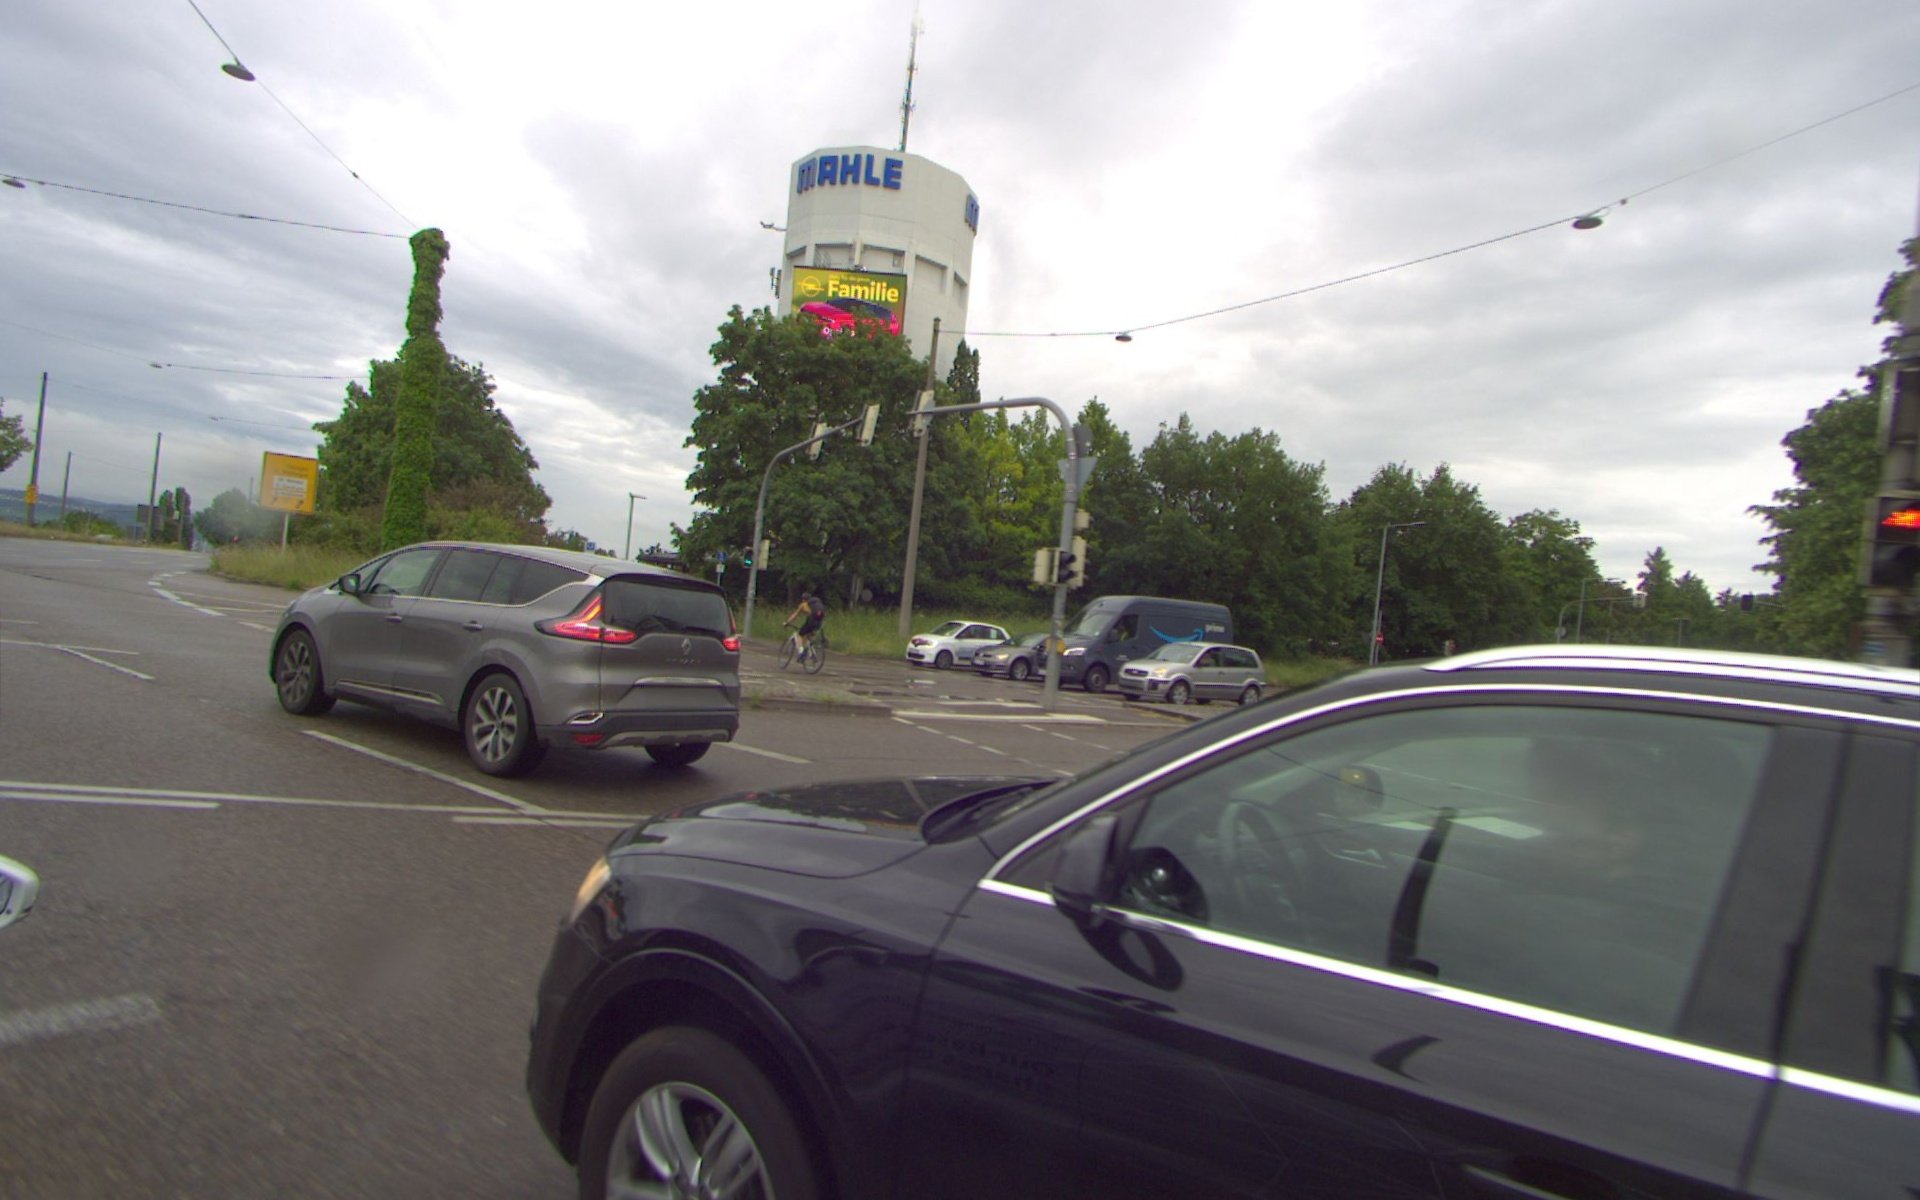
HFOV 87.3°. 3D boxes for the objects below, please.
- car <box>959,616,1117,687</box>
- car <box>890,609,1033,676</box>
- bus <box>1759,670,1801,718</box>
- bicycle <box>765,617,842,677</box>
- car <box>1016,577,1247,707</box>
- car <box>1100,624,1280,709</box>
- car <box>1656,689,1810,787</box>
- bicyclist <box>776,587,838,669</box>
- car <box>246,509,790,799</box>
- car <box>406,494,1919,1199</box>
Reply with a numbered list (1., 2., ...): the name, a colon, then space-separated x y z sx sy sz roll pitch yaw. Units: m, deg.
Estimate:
1. car: 2.301 1.518 29.095 4.340 1.537 1.714 8 -2 -34
2. car: 0.079 1.354 31.564 4.109 1.582 1.853 8 -2 -37
3. bus: 69.342 8.003 85.164 2.304 3.606 6.471 7 0 38
4. bicycle: -3.367 0.975 21.449 0.802 1.035 2.311 6 0 -29
5. car: 4.674 1.166 26.951 5.967 2.773 2.065 8 -1 -31
6. car: 5.525 1.603 23.998 4.024 1.586 1.856 8 -3 -34
7. car: 16.033 2.780 21.099 1.839 1.516 4.143 5 0 29
8. bicyclist: -3.260 0.591 21.414 0.803 1.602 1.015 8 -2 -30
9. car: -3.839 0.325 8.506 4.490 1.694 1.868 6 -1 32
10. car: 1.075 0.848 1.938 4.045 1.614 1.888 6 -2 31
